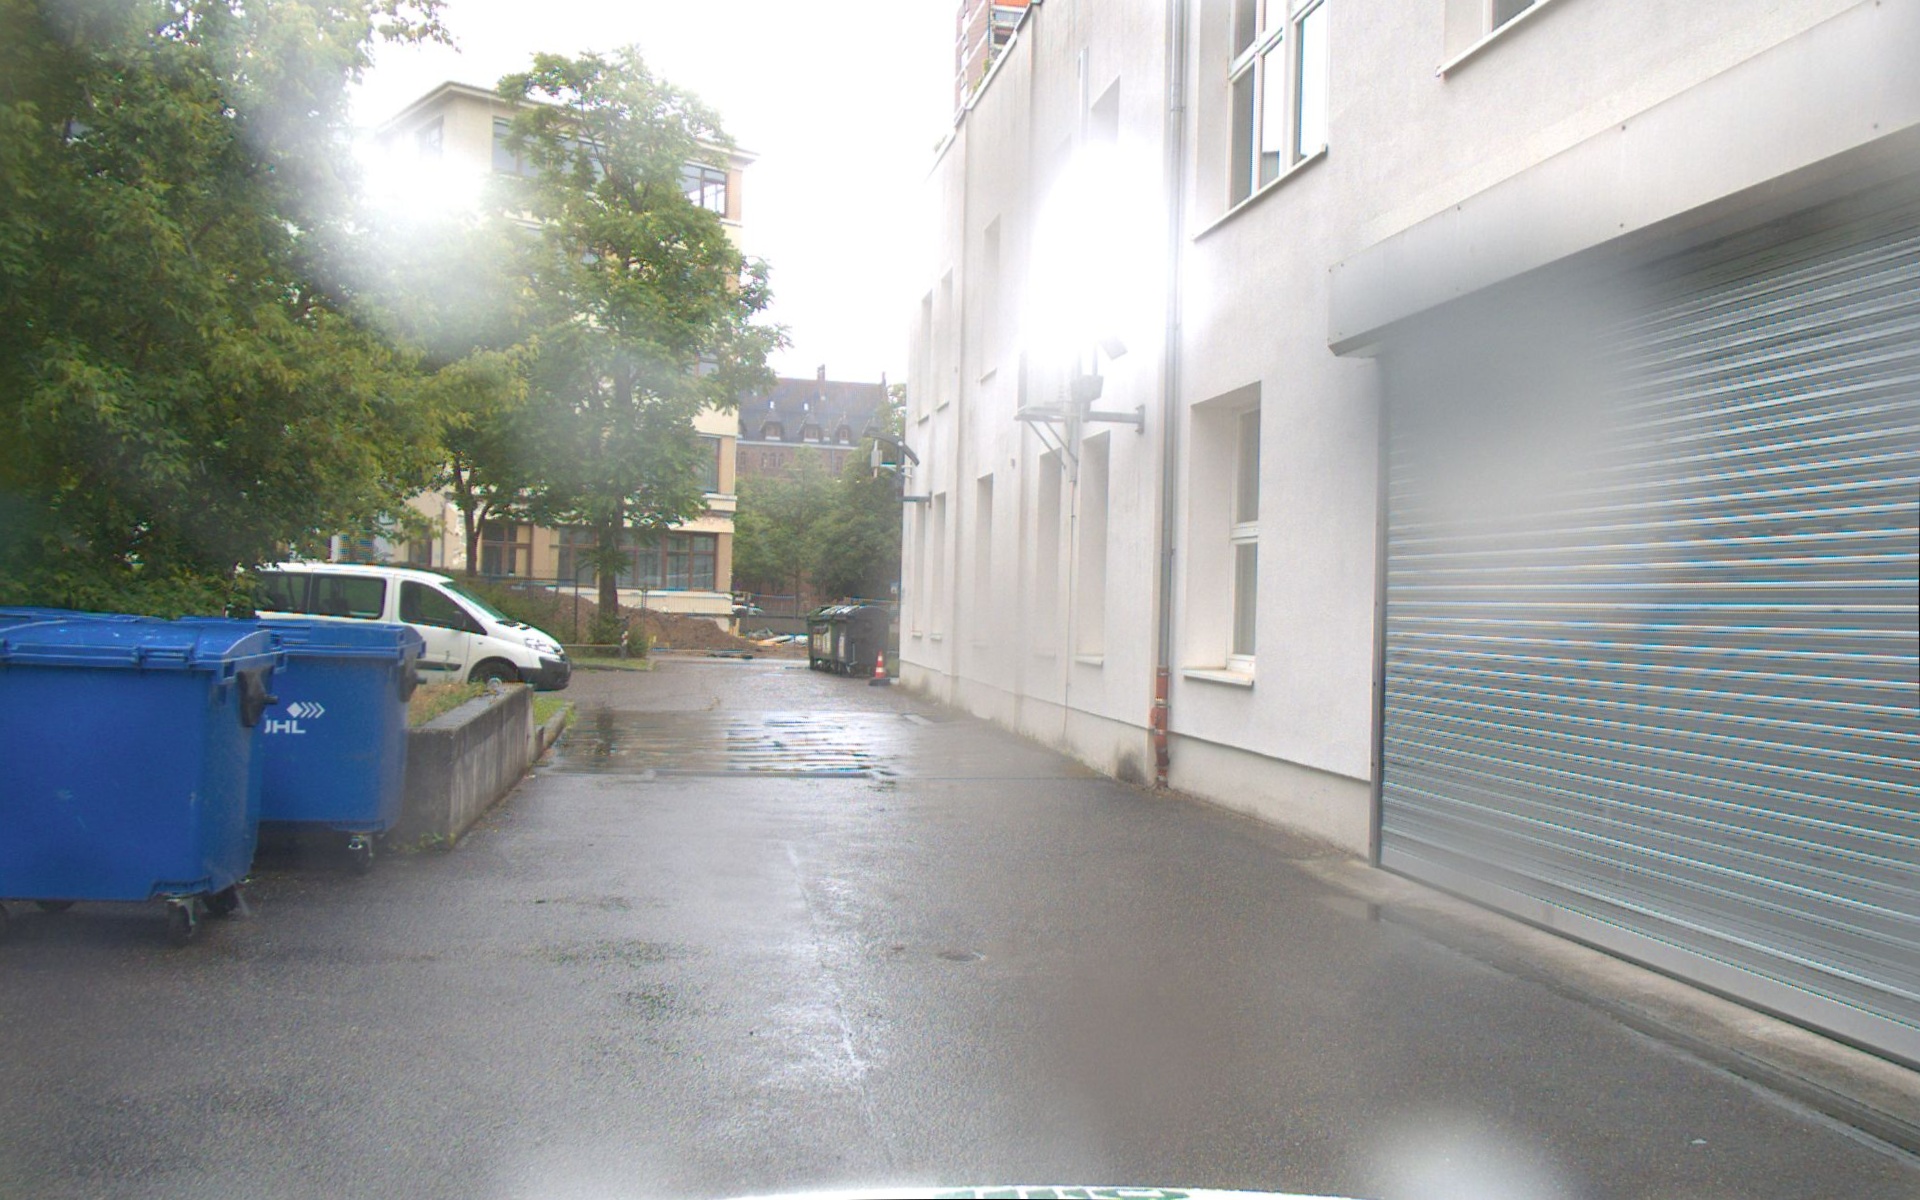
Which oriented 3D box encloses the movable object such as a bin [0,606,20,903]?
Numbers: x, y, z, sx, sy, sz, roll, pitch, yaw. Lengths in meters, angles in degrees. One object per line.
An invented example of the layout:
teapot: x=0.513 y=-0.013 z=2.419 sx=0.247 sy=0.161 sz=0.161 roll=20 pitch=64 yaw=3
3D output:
movable object such as a bin: x=-4.879 y=0.697 z=7.006 sx=1.181 sy=1.360 sz=1.114 roll=3 pitch=1 yaw=-10

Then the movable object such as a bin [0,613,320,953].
movable object such as a bin: x=-3.606 y=0.753 z=7.265 sx=1.179 sy=1.360 sz=1.115 roll=2 pitch=-1 yaw=-6

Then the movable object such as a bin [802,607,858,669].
movable object such as a bin: x=-3.182 y=0.945 z=40.357 sx=1.193 sy=1.462 sz=1.255 roll=2 pitch=-3 yaw=-12

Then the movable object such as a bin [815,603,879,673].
movable object such as a bin: x=-2.467 y=0.847 z=36.037 sx=1.193 sy=1.462 sz=1.290 roll=2 pitch=-3 yaw=-12

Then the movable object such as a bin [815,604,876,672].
movable object such as a bin: x=-2.619 y=0.874 z=37.667 sx=1.193 sy=1.494 sz=1.232 roll=2 pitch=-3 yaw=-12

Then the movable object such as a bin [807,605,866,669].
movable object such as a bin: x=-2.919 y=0.891 z=39.008 sx=1.193 sy=1.462 sz=1.255 roll=2 pitch=-3 yaw=-12

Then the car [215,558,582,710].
car: x=-7.942 y=0.478 z=23.831 sx=4.692 sy=2.049 sz=1.996 roll=1 pitch=0 yaw=-10

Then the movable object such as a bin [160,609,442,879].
movable object such as a bin: x=-3.541 y=0.753 z=9.020 sx=1.199 sy=1.360 sz=1.004 roll=2 pitch=0 yaw=-10

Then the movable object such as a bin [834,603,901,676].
movable object such as a bin: x=-1.927 y=0.839 z=34.424 sx=1.193 sy=1.462 sz=1.232 roll=2 pitch=-3 yaw=-12

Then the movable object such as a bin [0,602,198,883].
movable object such as a bin: x=-4.804 y=0.713 z=8.685 sx=1.199 sy=1.360 sz=1.004 roll=2 pitch=1 yaw=-10
